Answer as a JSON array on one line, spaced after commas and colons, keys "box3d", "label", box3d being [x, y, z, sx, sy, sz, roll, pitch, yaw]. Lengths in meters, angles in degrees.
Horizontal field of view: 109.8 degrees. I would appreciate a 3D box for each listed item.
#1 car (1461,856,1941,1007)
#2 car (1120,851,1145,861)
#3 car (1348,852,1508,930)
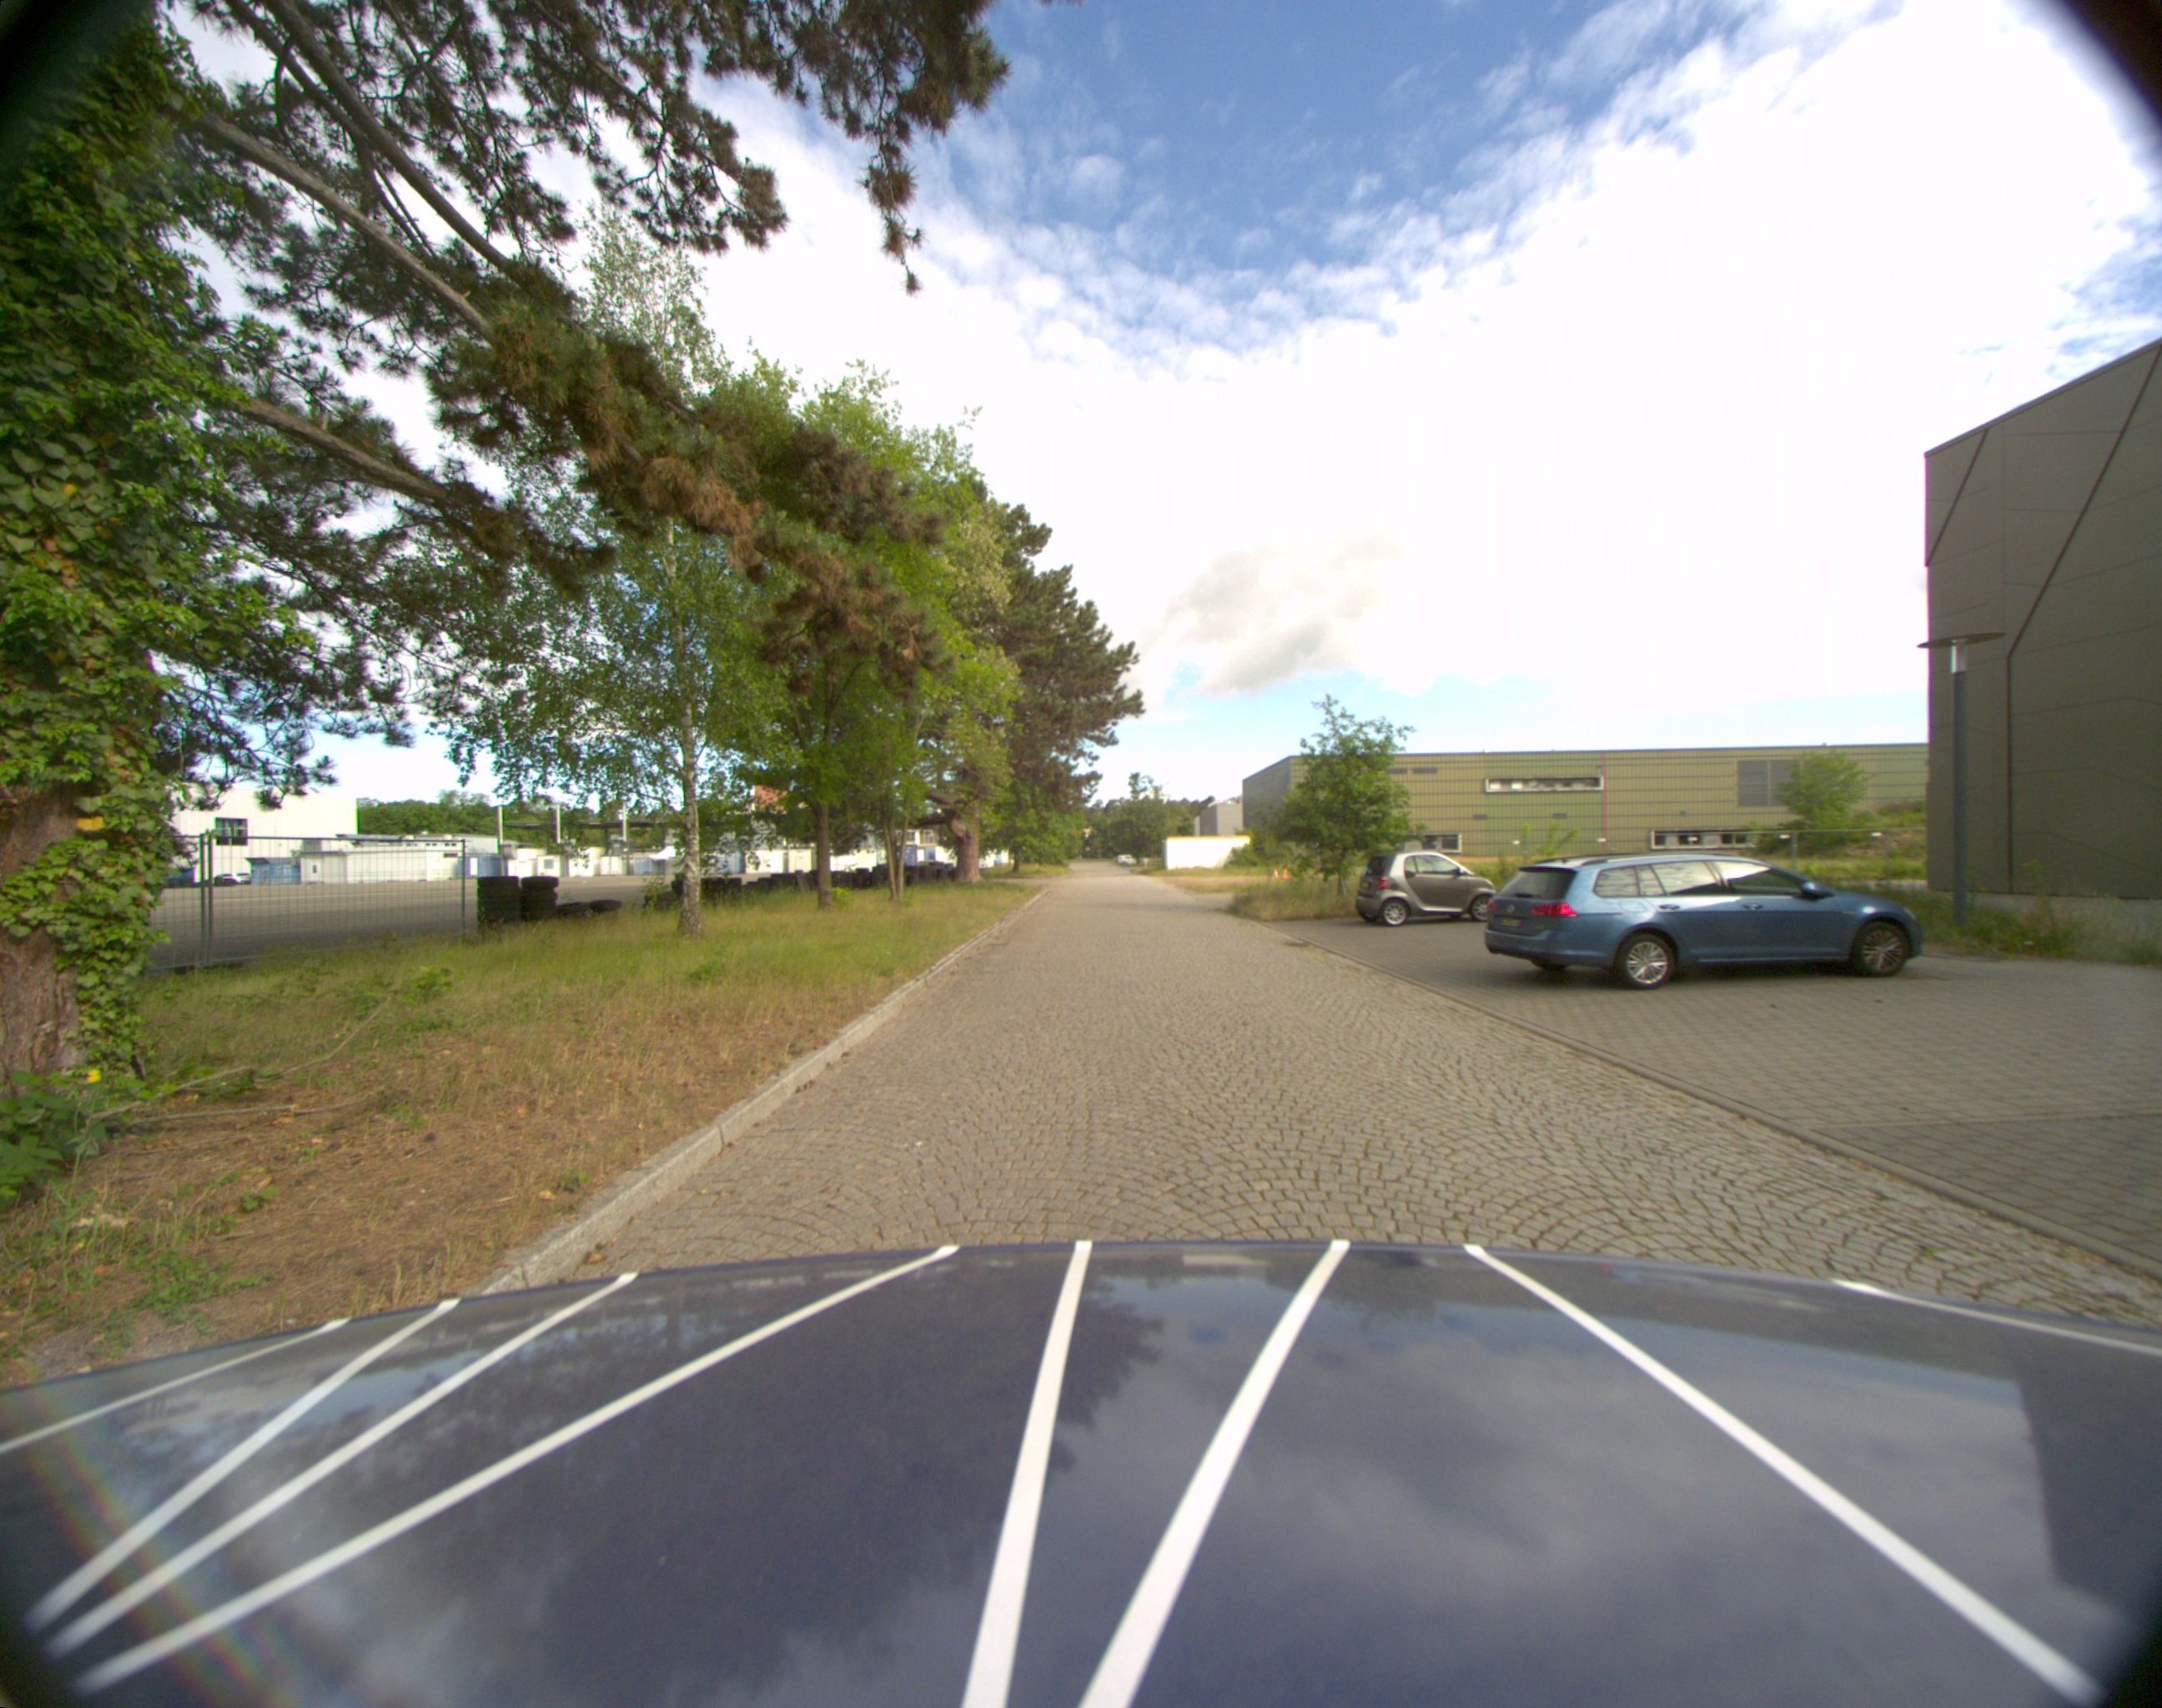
[{"box3d": [7.148, 0.824, 9.061, 4.317, 1.420, 1.773, -2, 0, -2], "label": "car"}, {"box3d": [8.360, 0.370, 123.598, 3.996, 1.604, 1.797, -1, 0, 4], "label": "car"}, {"box3d": [7.400, 0.757, 16.376, 2.661, 1.502, 1.610, -2, 0, 0], "label": "car"}]
